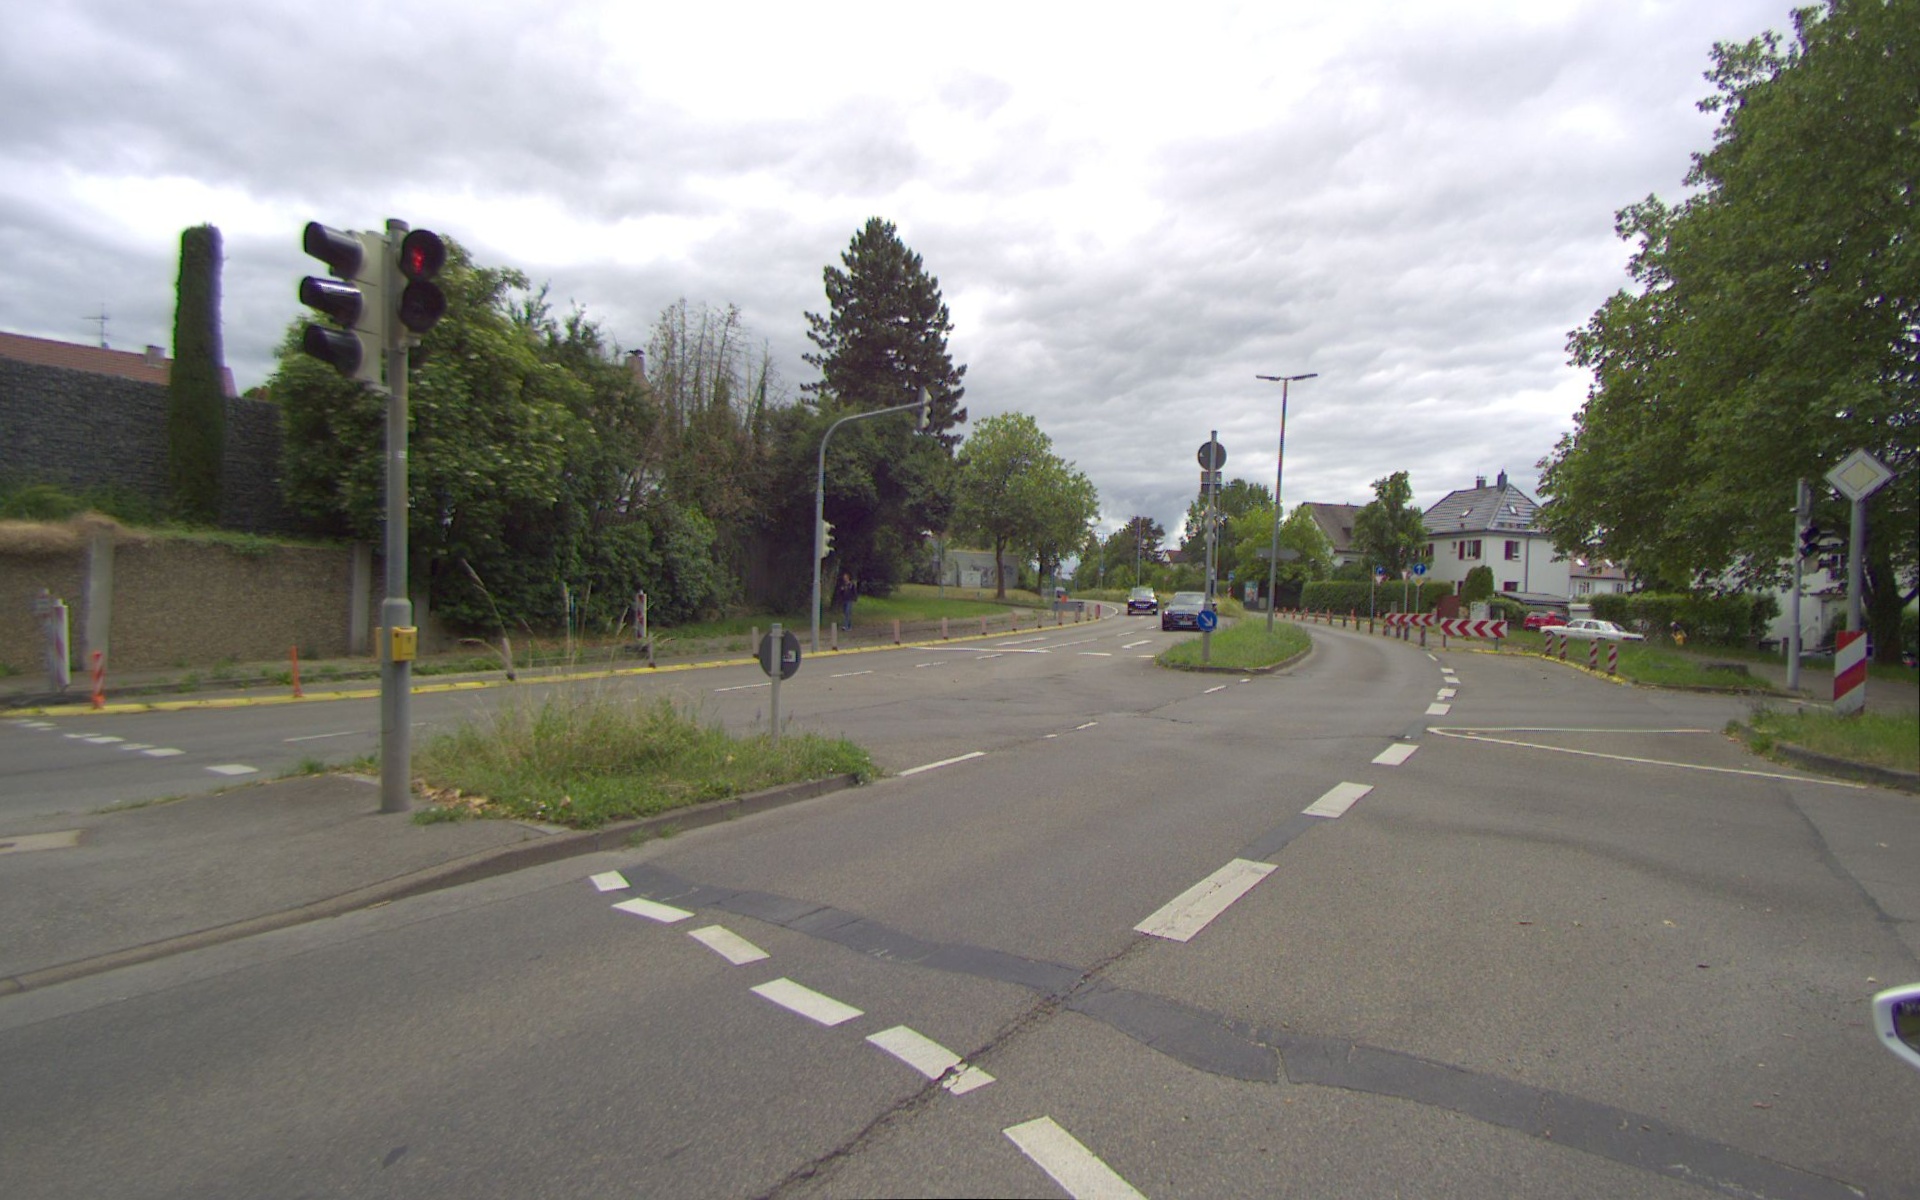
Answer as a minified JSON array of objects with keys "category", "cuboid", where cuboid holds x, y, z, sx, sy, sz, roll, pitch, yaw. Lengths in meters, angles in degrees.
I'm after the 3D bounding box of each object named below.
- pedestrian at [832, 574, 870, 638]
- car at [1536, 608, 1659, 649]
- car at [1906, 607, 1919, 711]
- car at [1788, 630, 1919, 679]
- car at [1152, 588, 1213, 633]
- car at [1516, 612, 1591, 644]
[{"category":"pedestrian","cuboid":[-3.563,0.192,32.992,0.933,2.041,0.855,2,1,15]},{"category":"car","cuboid":[32.340,1.433,51.107,2.187,1.815,4.851,1,1,-25]},{"category":"car","cuboid":[16.368,1.043,14.062,4.299,1.537,1.763,4,1,5]},{"category":"car","cuboid":[37.403,2.234,41.985,1.646,1.534,3.955,1,4,-36]},{"category":"car","cuboid":[8.660,0.375,39.372,1.809,1.653,4.262,0,1,5]},{"category":"car","cuboid":[34.822,1.637,58.923,3.764,1.537,1.603,4,1,-18]}]
